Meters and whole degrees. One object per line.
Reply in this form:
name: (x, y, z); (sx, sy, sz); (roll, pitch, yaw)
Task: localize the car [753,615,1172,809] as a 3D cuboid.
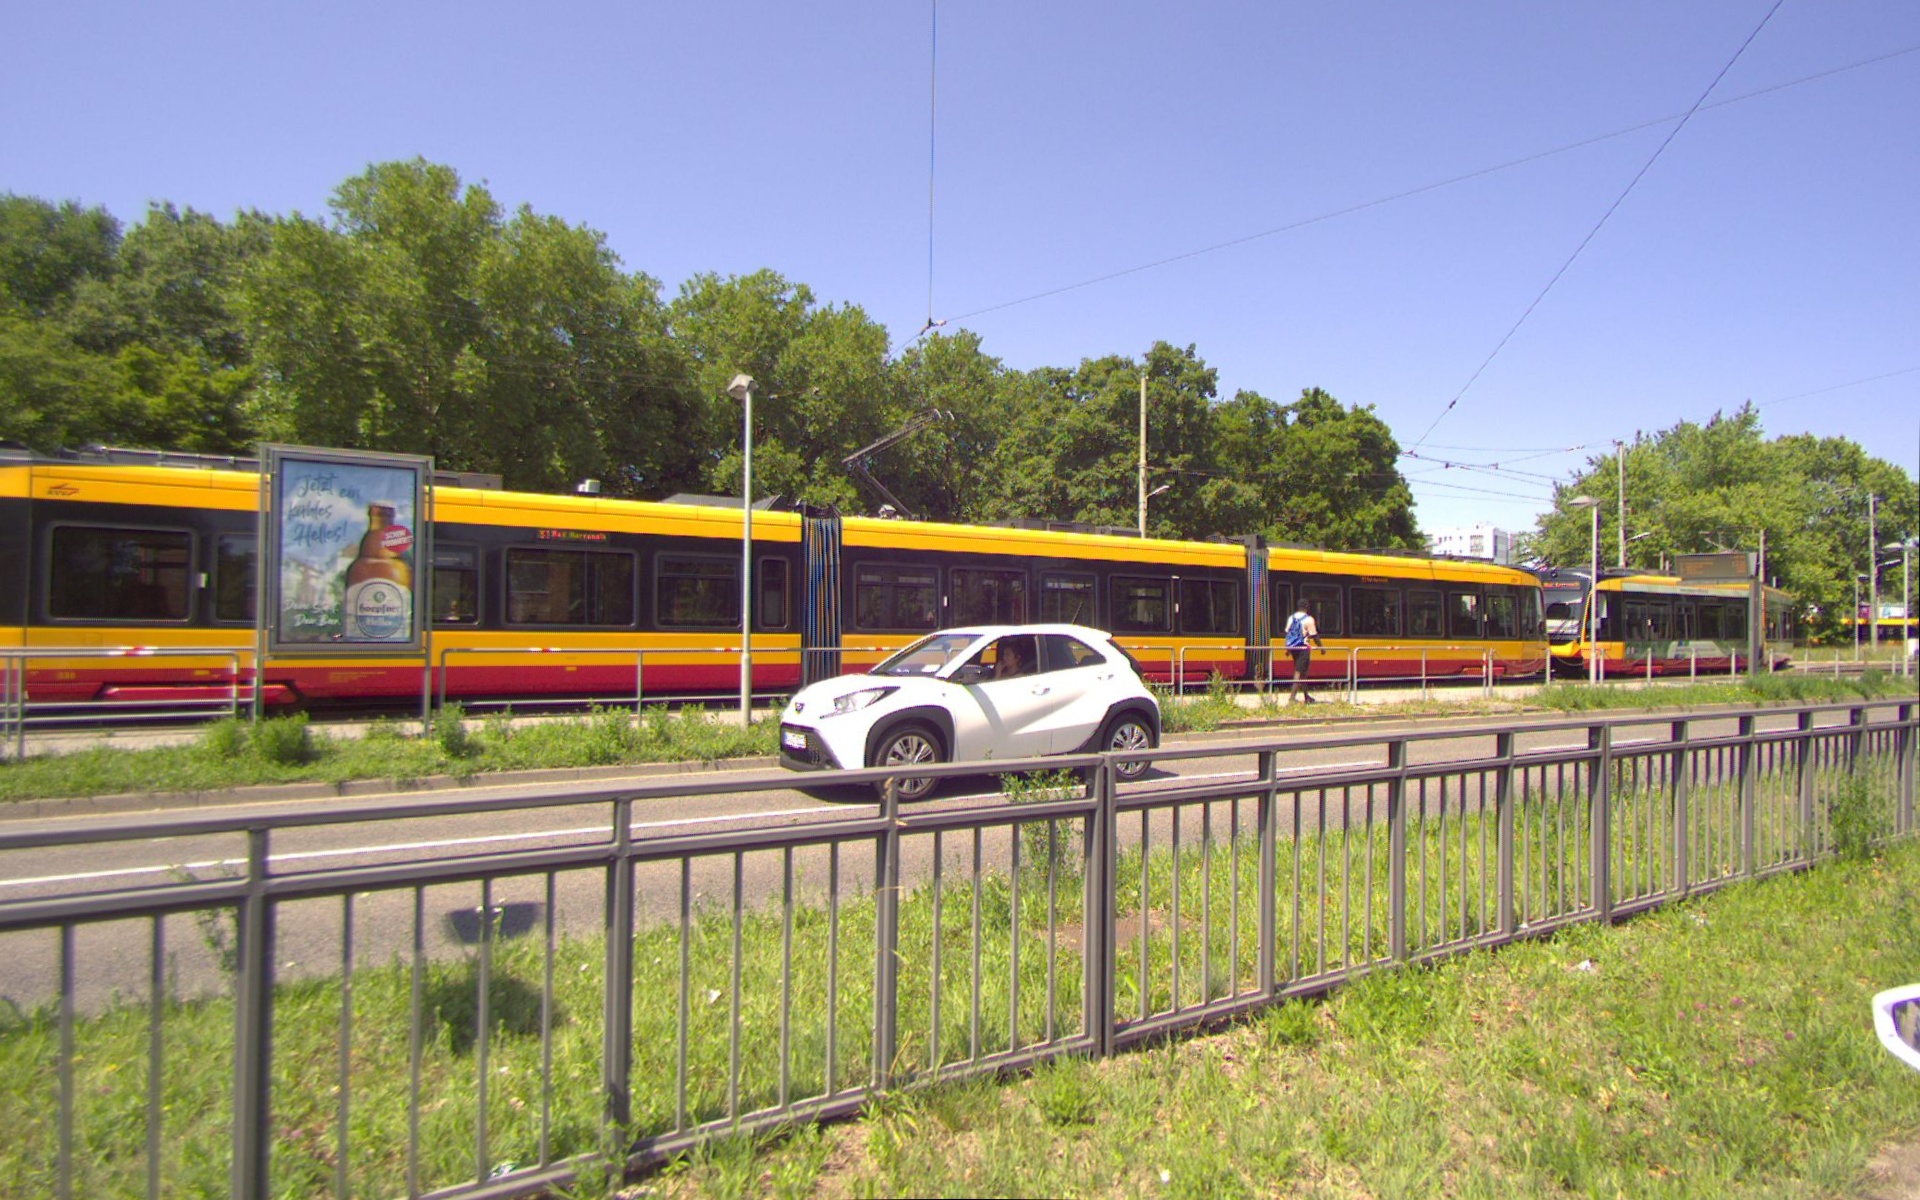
car: (0.072, 0.934, 9.670); (3.678, 1.525, 1.760); (1, -1, -32)

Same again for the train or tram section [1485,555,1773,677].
train or tram section: (23.666, 0.599, 35.018); (13.744, 3.673, 3.027); (1, 0, -32)

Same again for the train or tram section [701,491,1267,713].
train or tram section: (1.039, 0.142, 21.650); (12.449, 3.791, 3.028); (1, 0, -31)

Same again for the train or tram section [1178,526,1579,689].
train or tram section: (12.122, 0.291, 28.178); (13.104, 3.817, 3.029); (1, 0, -30)

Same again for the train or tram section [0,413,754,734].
train or tram section: (-9.180, -0.261, 15.482); (11.406, 3.907, 2.935); (1, 0, -31)

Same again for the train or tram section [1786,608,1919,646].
train or tram section: (92.453, 2.727, 101.955); (3.009, 3.512, 13.166); (1, 0, -28)

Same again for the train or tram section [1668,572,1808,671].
train or tram section: (33.070, 0.864, 42.392); (12.370, 3.673, 3.013); (1, 0, -45)

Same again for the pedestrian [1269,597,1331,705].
pedestrian: (5.876, 0.863, 17.371); (0.768, 1.815, 0.628); (1, 0, -32)
